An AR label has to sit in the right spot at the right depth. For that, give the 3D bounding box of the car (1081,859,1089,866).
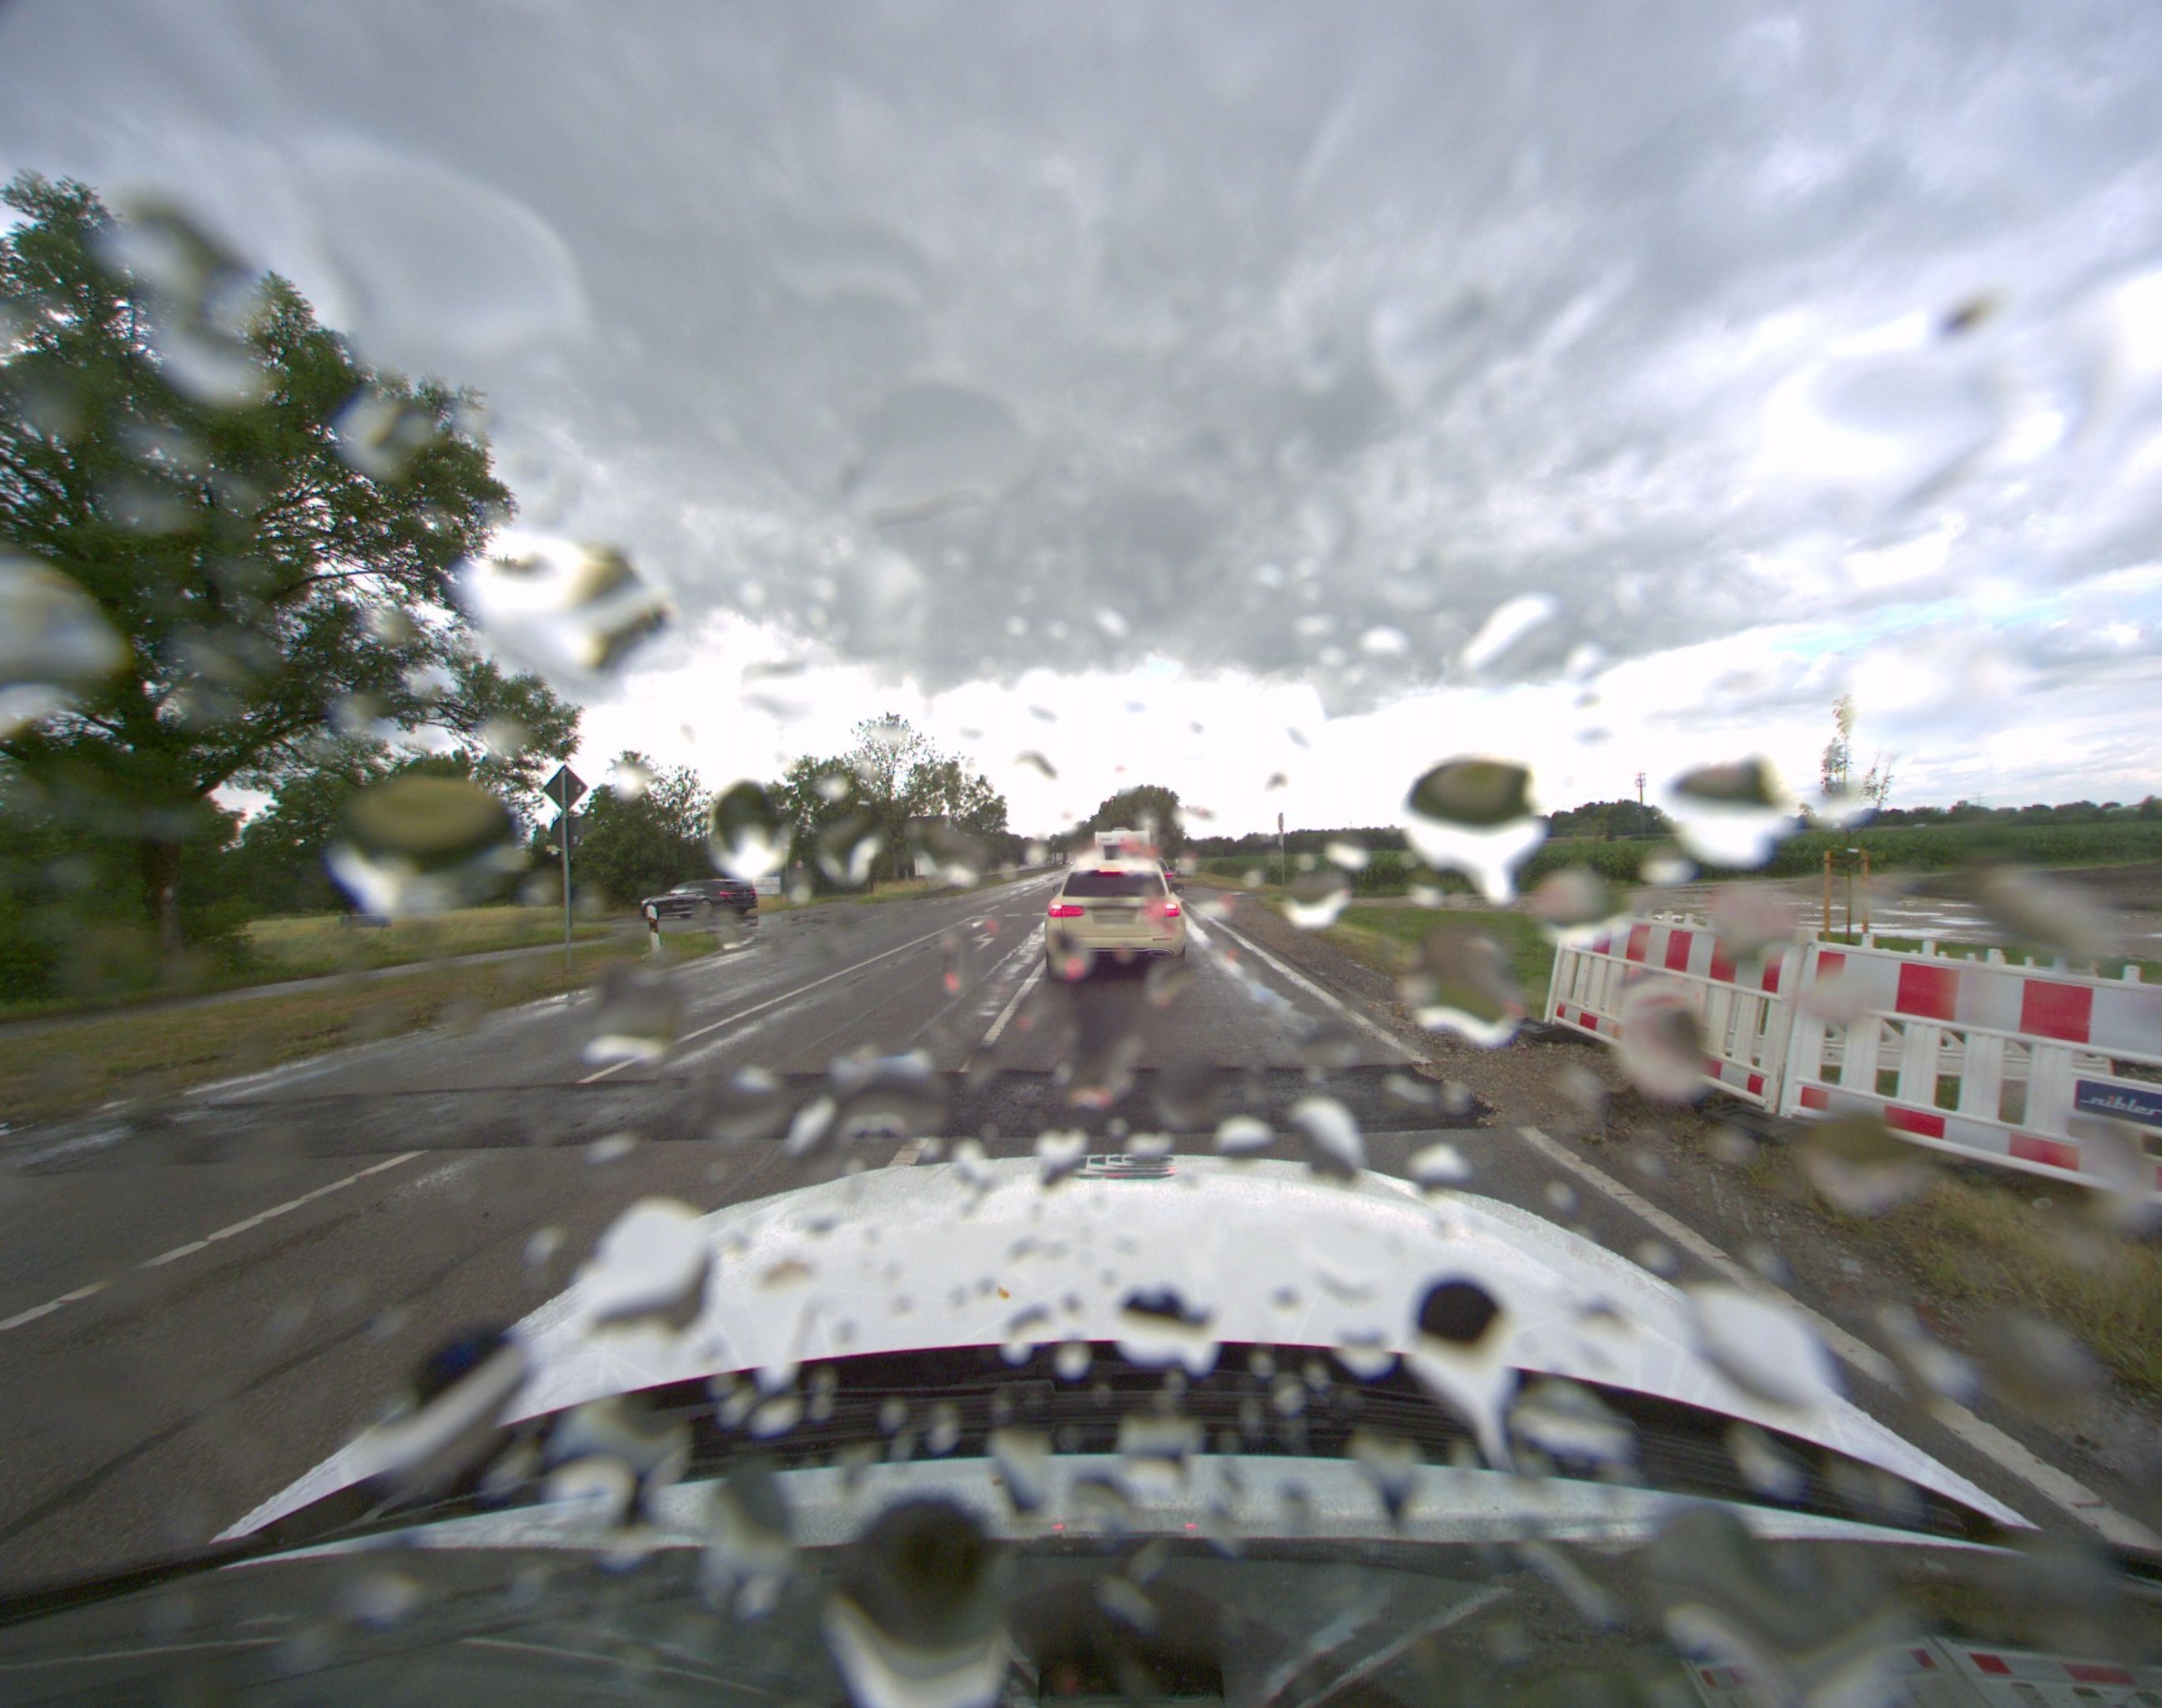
[{"bbox_3d":[1.001,2.174,203.652,1.745,1.662,3.668,-2,0,-3],"label":"car"}]

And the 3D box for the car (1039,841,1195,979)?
[{"bbox_3d":[0.493,0.687,11.732,1.836,1.618,4.001,-1,0,2],"label":"car"}]

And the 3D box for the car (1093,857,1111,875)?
[{"bbox_3d":[2.315,1.331,89.766,1.908,1.841,3.797,-2,0,2],"label":"car"}]

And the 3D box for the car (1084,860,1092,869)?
[{"bbox_3d":[1.710,2.428,189.396,1.733,1.860,3.786,-2,0,2],"label":"car"}]

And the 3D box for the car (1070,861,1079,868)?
[{"bbox_3d":[-1.544,2.426,187.257,1.821,1.574,4.002,0,-1,2],"label":"car"}]

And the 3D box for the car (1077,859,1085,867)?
[{"bbox_3d":[0.016,2.286,213.981,1.890,1.895,3.841,-2,-1,-1],"label":"car"}]

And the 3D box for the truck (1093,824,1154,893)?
[{"bbox_3d":[1.861,0.201,36.752,2.354,2.729,7.317,-2,0,2],"label":"truck"}]

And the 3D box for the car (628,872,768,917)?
[{"bbox_3d":[-15.323,1.613,32.709,4.583,1.547,2.318,-3,-1,14],"label":"car"}]

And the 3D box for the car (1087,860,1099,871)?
[{"bbox_3d":[2.005,1.849,134.912,1.784,1.777,3.722,-2,0,2],"label":"car"}]

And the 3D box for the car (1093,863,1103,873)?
[{"bbox_3d":[3.396,2.801,163.194,1.987,1.772,4.000,-2,0,0],"label":"car"}]

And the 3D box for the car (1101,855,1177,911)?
[{"bbox_3d":[1.593,0.790,23.390,1.986,1.462,4.001,0,-1,2],"label":"car"}]

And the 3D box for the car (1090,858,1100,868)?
[{"bbox_3d":[2.620,1.746,151.796,1.872,1.761,3.835,-2,0,2],"label":"car"}]
